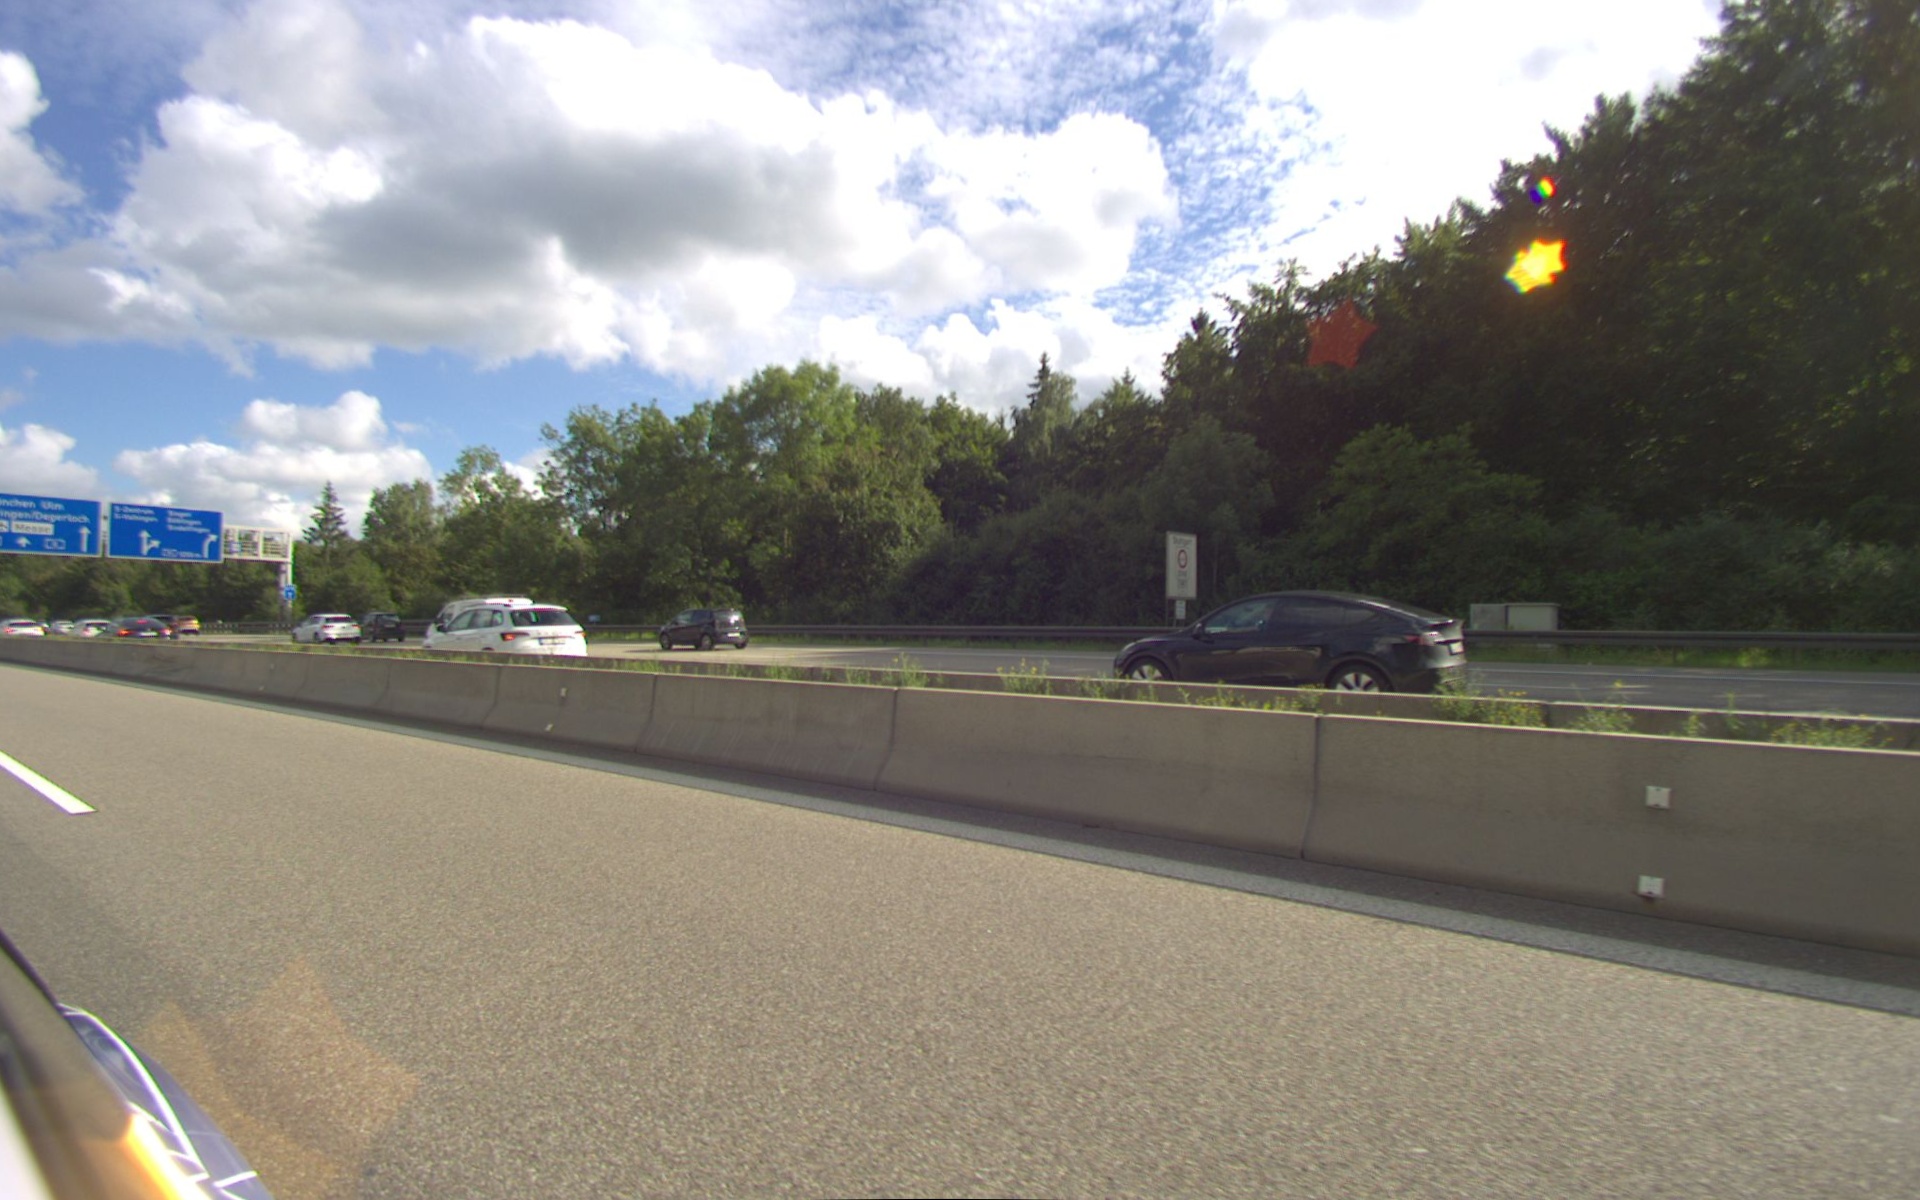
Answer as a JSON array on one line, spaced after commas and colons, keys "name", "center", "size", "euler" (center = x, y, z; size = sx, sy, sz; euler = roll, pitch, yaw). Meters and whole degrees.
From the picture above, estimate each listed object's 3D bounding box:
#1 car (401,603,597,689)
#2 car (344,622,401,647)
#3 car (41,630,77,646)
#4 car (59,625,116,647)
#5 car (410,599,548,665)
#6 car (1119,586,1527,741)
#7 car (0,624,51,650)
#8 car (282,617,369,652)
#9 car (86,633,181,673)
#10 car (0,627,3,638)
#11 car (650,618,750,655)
[{"name": "car", "center": [-9.351, 0.871, 20.348], "size": [4.675, 1.519, 1.736], "euler": [-1, -1, 40]}, {"name": "car", "center": [-30.240, 1.779, 52.110], "size": [3.266, 1.221, 1.479], "euler": [-1, -1, 39]}, {"name": "car", "center": [-93.985, 3.946, 105.517], "size": [5.121, 1.557, 1.800], "euler": [-2, -1, 36]}, {"name": "car", "center": [-50.610, 2.072, 58.672], "size": [4.433, 1.209, 1.632], "euler": [-2, -1, 38]}, {"name": "car", "center": [-14.583, 0.934, 30.584], "size": [4.725, 1.851, 1.973], "euler": [-1, -1, 40]}, {"name": "car", "center": [4.636, 0.730, 13.358], "size": [4.676, 1.700, 1.973], "euler": [-1, -1, 40]}, {"name": "car", "center": [-51.735, 2.004, 55.591], "size": [4.826, 1.318, 1.974], "euler": [-2, -1, 39]}, {"name": "car", "center": [-29.647, 1.586, 47.242], "size": [4.665, 1.484, 2.051], "euler": [-1, -1, 39]}, {"name": "car", "center": [-32.100, 2.014, 39.272], "size": [4.743, 1.401, 1.974], "euler": [-1, -1, 39]}, {"name": "car", "center": [-115.092, 3.876, 120.032], "size": [4.175, 1.298, 1.686], "euler": [-1, -1, 37]}, {"name": "car", "center": [-9.166, 1.273, 35.551], "size": [3.784, 1.221, 1.479], "euler": [-1, -1, 39]}]
